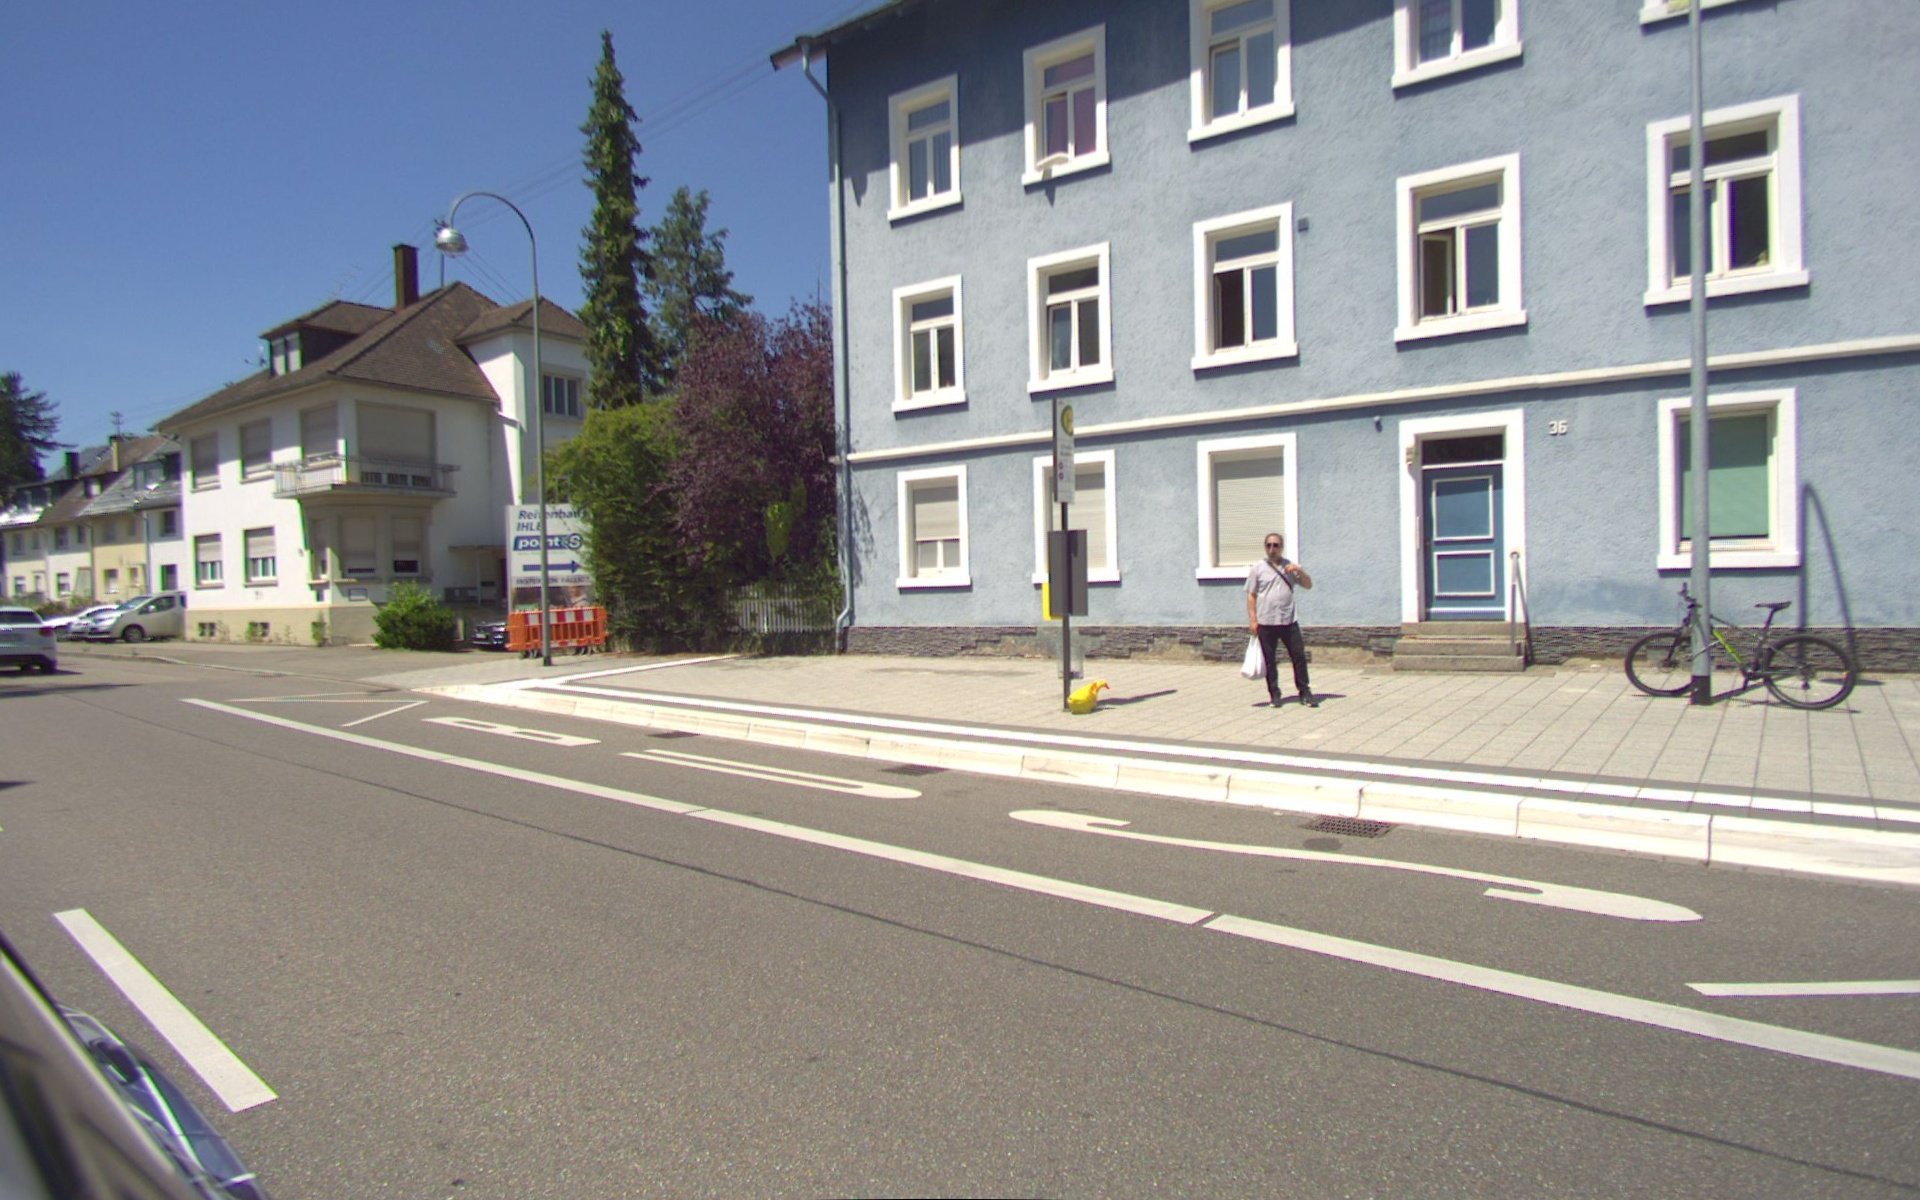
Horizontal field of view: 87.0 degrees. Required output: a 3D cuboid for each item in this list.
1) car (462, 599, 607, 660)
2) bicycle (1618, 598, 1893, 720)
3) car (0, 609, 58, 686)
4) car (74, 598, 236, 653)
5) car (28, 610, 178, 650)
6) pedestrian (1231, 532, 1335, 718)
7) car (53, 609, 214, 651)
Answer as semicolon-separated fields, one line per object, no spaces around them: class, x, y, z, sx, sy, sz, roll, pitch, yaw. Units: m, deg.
car;-13.140;0.883;31.447;1.559;1.551;3.892;-8;-3;31
bicycle;7.359;0.497;9.446;1.974;0.984;0.490;0;6;45
car;-21.758;1.027;22.599;3.946;1.541;1.803;1;2;39
car;-29.548;0.930;37.312;1.841;1.891;4.325;-1;-1;27
car;-34.102;1.174;40.422;4.201;1.507;1.882;0;-1;-24
pedestrian;3.424;0.256;10.699;0.769;1.861;0.750;-4;2;32
car;-31.538;1.123;38.724;1.971;1.507;4.432;-2;-2;35
